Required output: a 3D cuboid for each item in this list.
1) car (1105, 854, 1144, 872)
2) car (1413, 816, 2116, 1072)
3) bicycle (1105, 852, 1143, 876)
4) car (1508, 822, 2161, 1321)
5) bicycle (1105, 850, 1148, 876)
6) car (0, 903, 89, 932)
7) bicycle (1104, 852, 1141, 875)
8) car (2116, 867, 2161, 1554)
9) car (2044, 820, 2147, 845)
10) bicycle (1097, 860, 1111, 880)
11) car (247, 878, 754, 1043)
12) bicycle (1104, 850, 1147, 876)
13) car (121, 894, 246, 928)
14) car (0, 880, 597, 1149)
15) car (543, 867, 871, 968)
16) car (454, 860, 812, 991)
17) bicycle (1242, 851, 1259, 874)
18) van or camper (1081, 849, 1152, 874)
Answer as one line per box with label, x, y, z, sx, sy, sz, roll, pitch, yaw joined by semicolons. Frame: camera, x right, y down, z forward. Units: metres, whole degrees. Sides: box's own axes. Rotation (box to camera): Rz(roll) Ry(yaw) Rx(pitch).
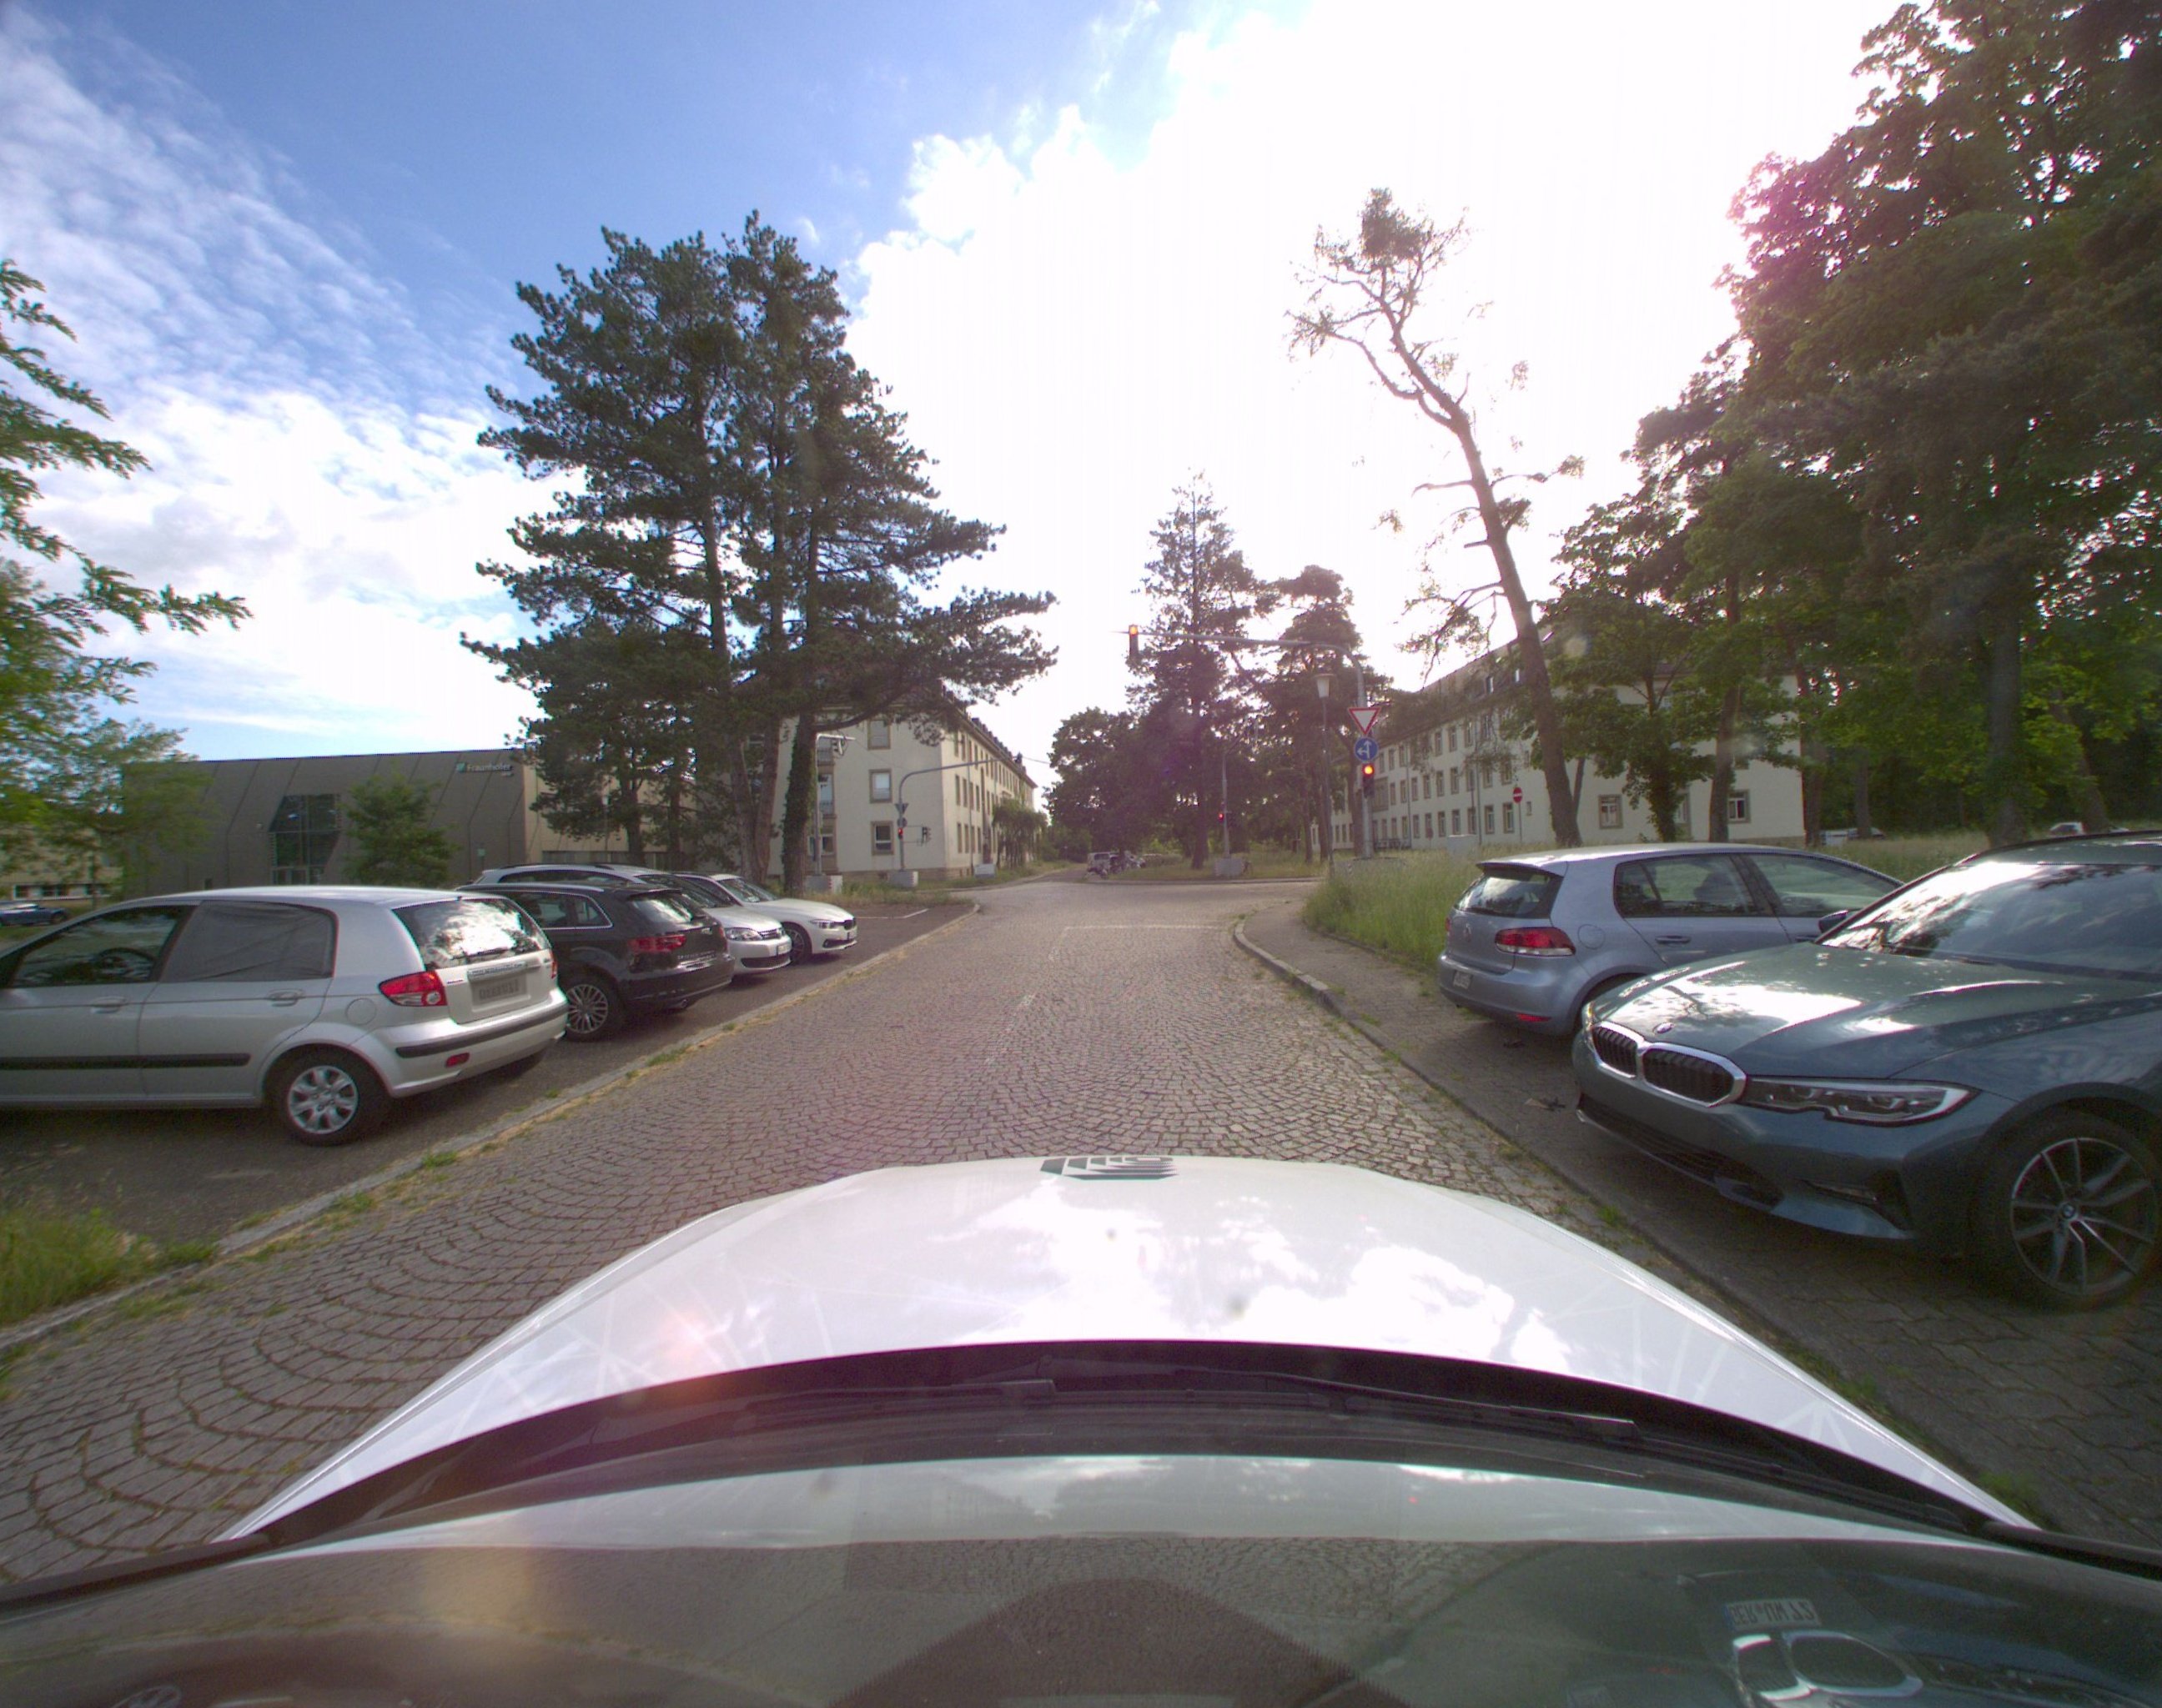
car;3.687;0.767;69.629;3.132;1.354;1.618;-2;0;-4
car;4.763;0.585;6.106;3.829;1.471;1.642;-3;0;1
bicycle;3.170;0.741;60.001;2.762;1.694;1.122;0;-1;5
car;4.568;0.624;3.500;4.499;1.483;1.807;-2;0;-1
bicycle;3.076;0.604;55.241;2.770;1.694;1.119;-2;0;-4
car;-56.248;3.400;43.303;1.598;1.272;4.203;-2;0;5
bicycle;3.134;0.733;61.341;2.764;1.694;1.121;0;-1;3
car;4.351;0.630;0.820;4.311;1.428;1.767;-3;0;0
car;58.837;-1.254;47.271;3.972;1.398;1.564;0;0;1
bicycle;1.450;0.983;50.996;0.722;1.107;2.464;-7;-1;3
car;-5.540;0.979;8.138;3.822;1.408;1.696;0;0;1
bicycle;3.094;0.634;56.436;2.772;1.694;1.118;-2;0;-6
car;-47.127;2.974;42.894;1.750;1.414;4.137;-2;0;5
car;-5.559;0.949;5.482;3.566;1.476;1.646;0;0;-1
car;-5.951;0.992;13.397;4.466;1.442;1.829;1;0;-2
car;-5.828;0.887;10.963;3.820;1.607;1.735;0;0;-1
bicycle;8.978;0.433;43.289;0.720;1.169;2.743;-1;0;8
van or camper;3.184;0.681;73.222;6.037;1.948;1.992;-2;0;-12
